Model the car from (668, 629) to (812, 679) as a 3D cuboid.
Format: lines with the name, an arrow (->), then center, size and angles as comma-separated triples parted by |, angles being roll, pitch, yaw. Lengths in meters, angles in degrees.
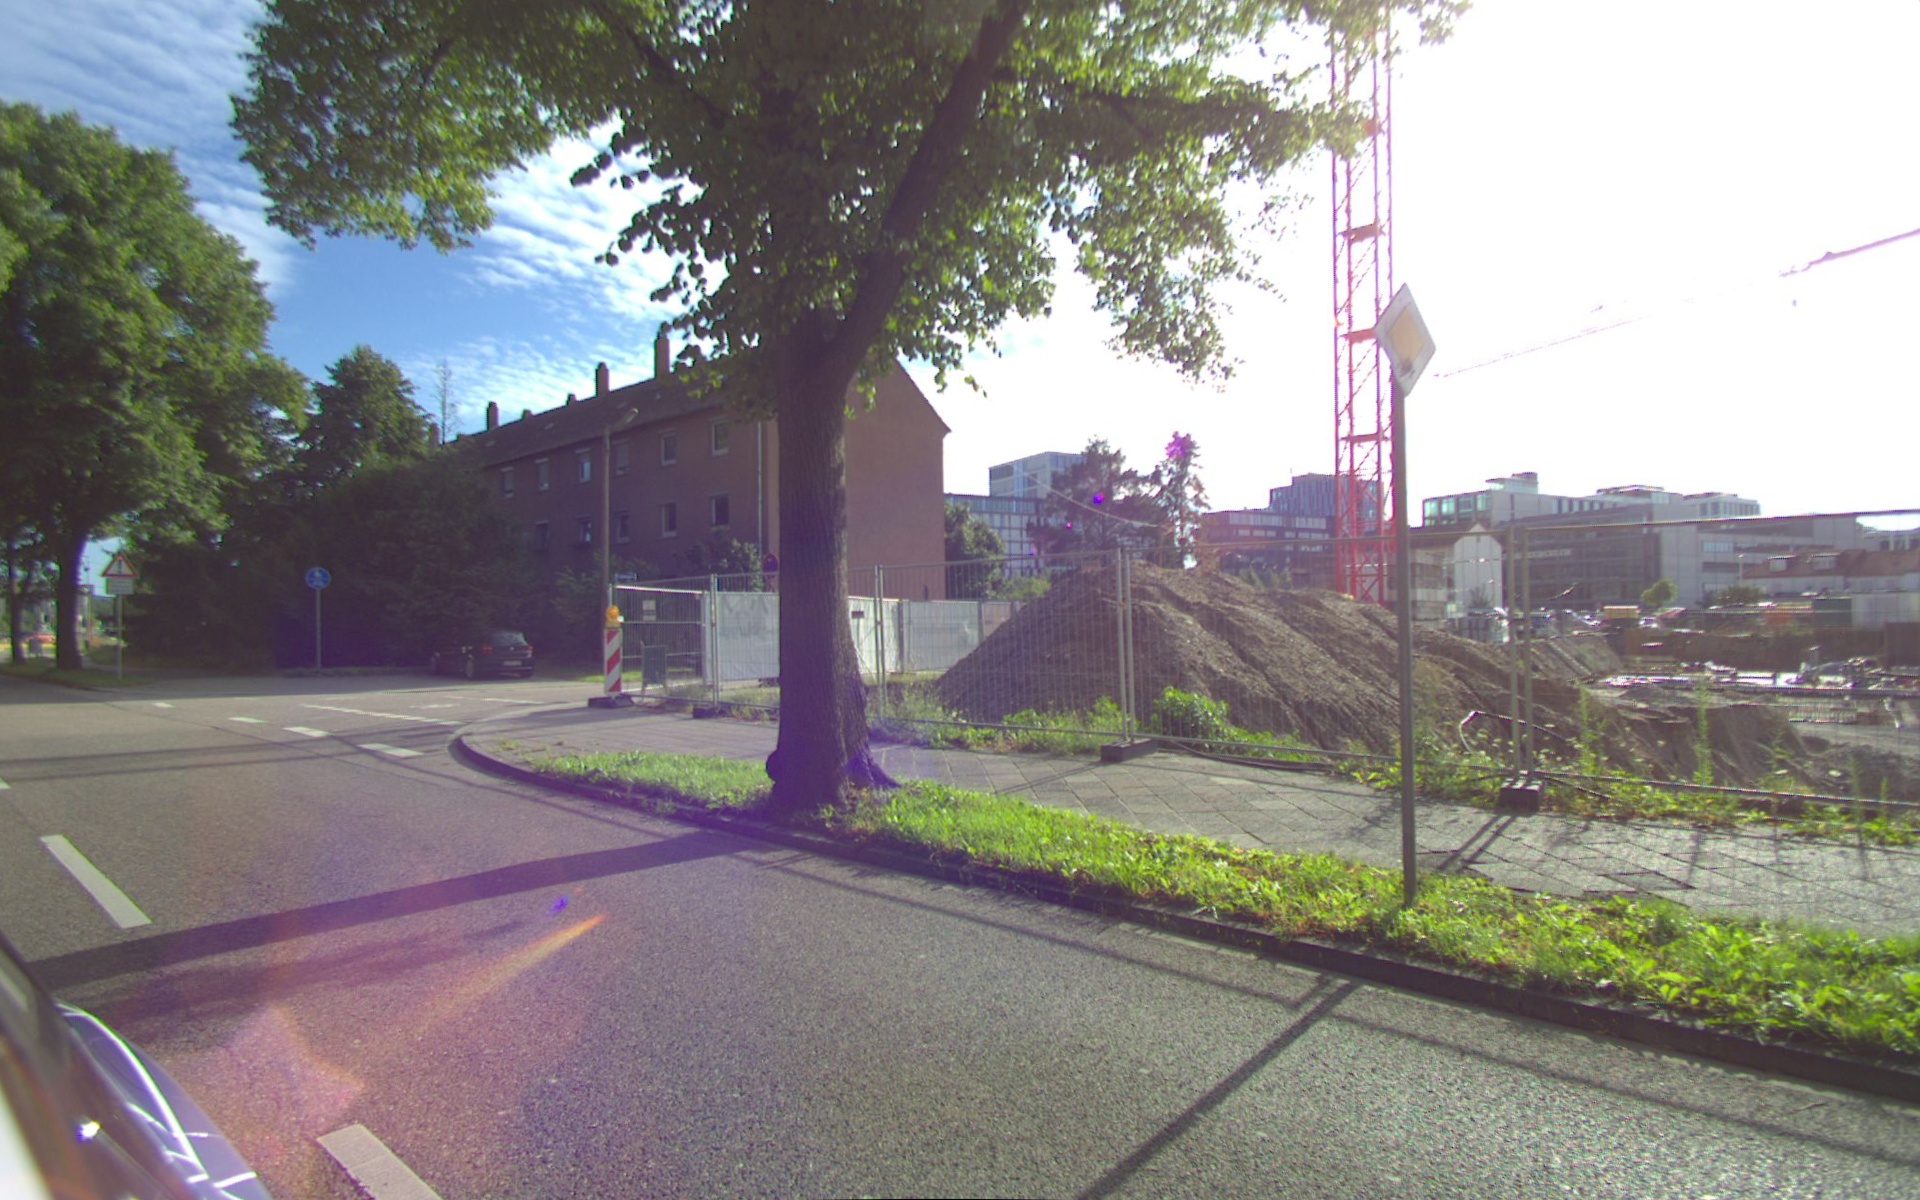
car -> -6.864, 1.633, 31.808 | 2.001, 1.314, 3.942 | 4, 2, 44

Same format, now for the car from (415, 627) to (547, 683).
car -> -13.885, 1.529, 29.218 | 4.509, 1.439, 1.971 | 0, -1, 44

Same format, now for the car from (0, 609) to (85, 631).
car -> -87.018, 1.887, 95.792 | 6.162, 1.881, 2.479 | -1, 0, -2
